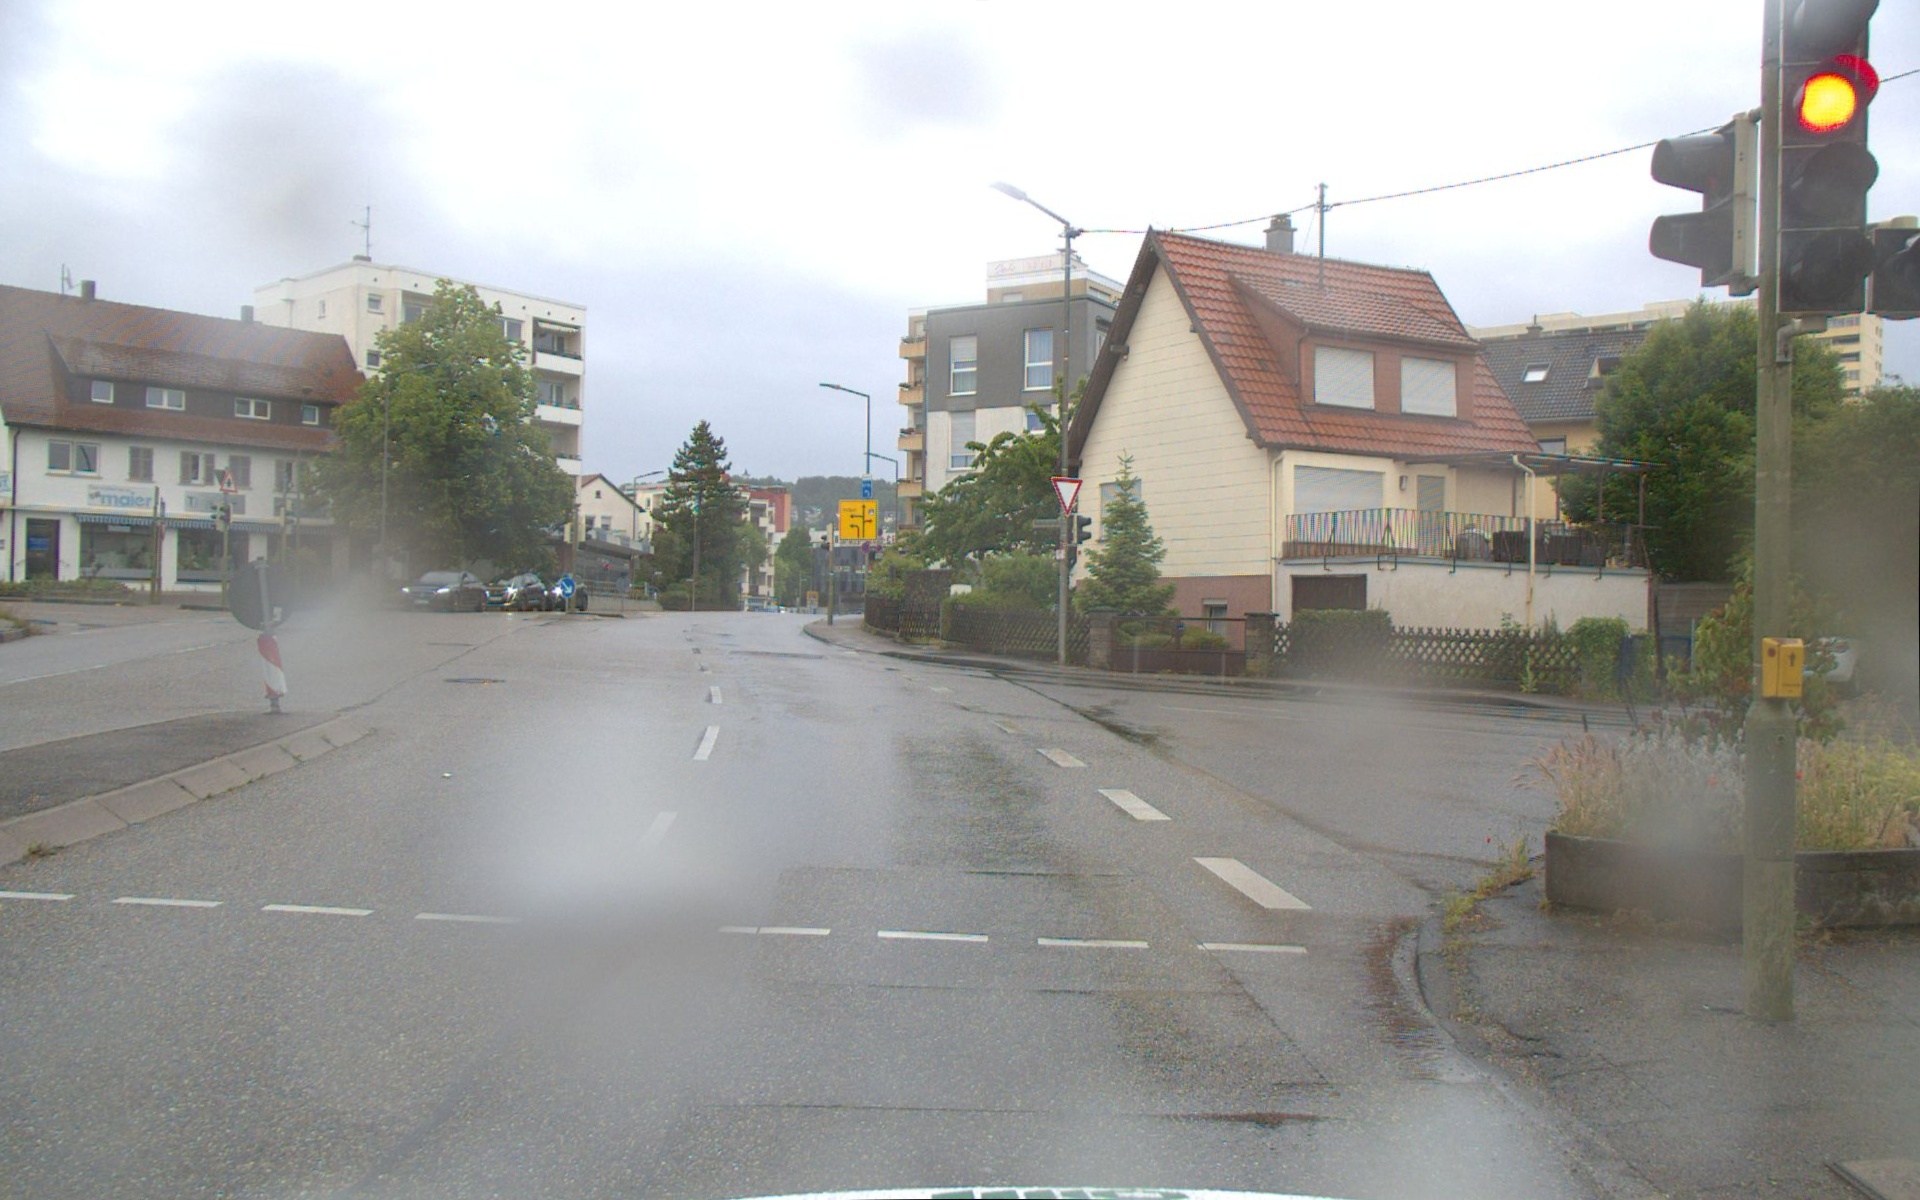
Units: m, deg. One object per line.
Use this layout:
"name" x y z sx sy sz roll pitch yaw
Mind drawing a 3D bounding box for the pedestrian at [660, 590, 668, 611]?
"pedestrian" -24.229 0.038 135.323 0.486 1.687 0.434 1 0 5

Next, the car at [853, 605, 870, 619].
"car" -11.690 1.415 196.689 1.776 1.512 4.189 0 1 0

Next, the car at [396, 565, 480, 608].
"car" -18.264 -0.484 57.983 1.742 1.445 3.830 1 1 -1

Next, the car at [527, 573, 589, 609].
"car" -17.275 -0.394 71.221 1.742 1.445 3.830 1 1 -1

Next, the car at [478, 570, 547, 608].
"car" -17.637 -0.449 65.344 1.680 1.411 4.020 1 1 -1

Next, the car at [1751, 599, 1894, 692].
"car" 15.656 0.770 29.934 1.710 1.541 3.985 1 1 36
